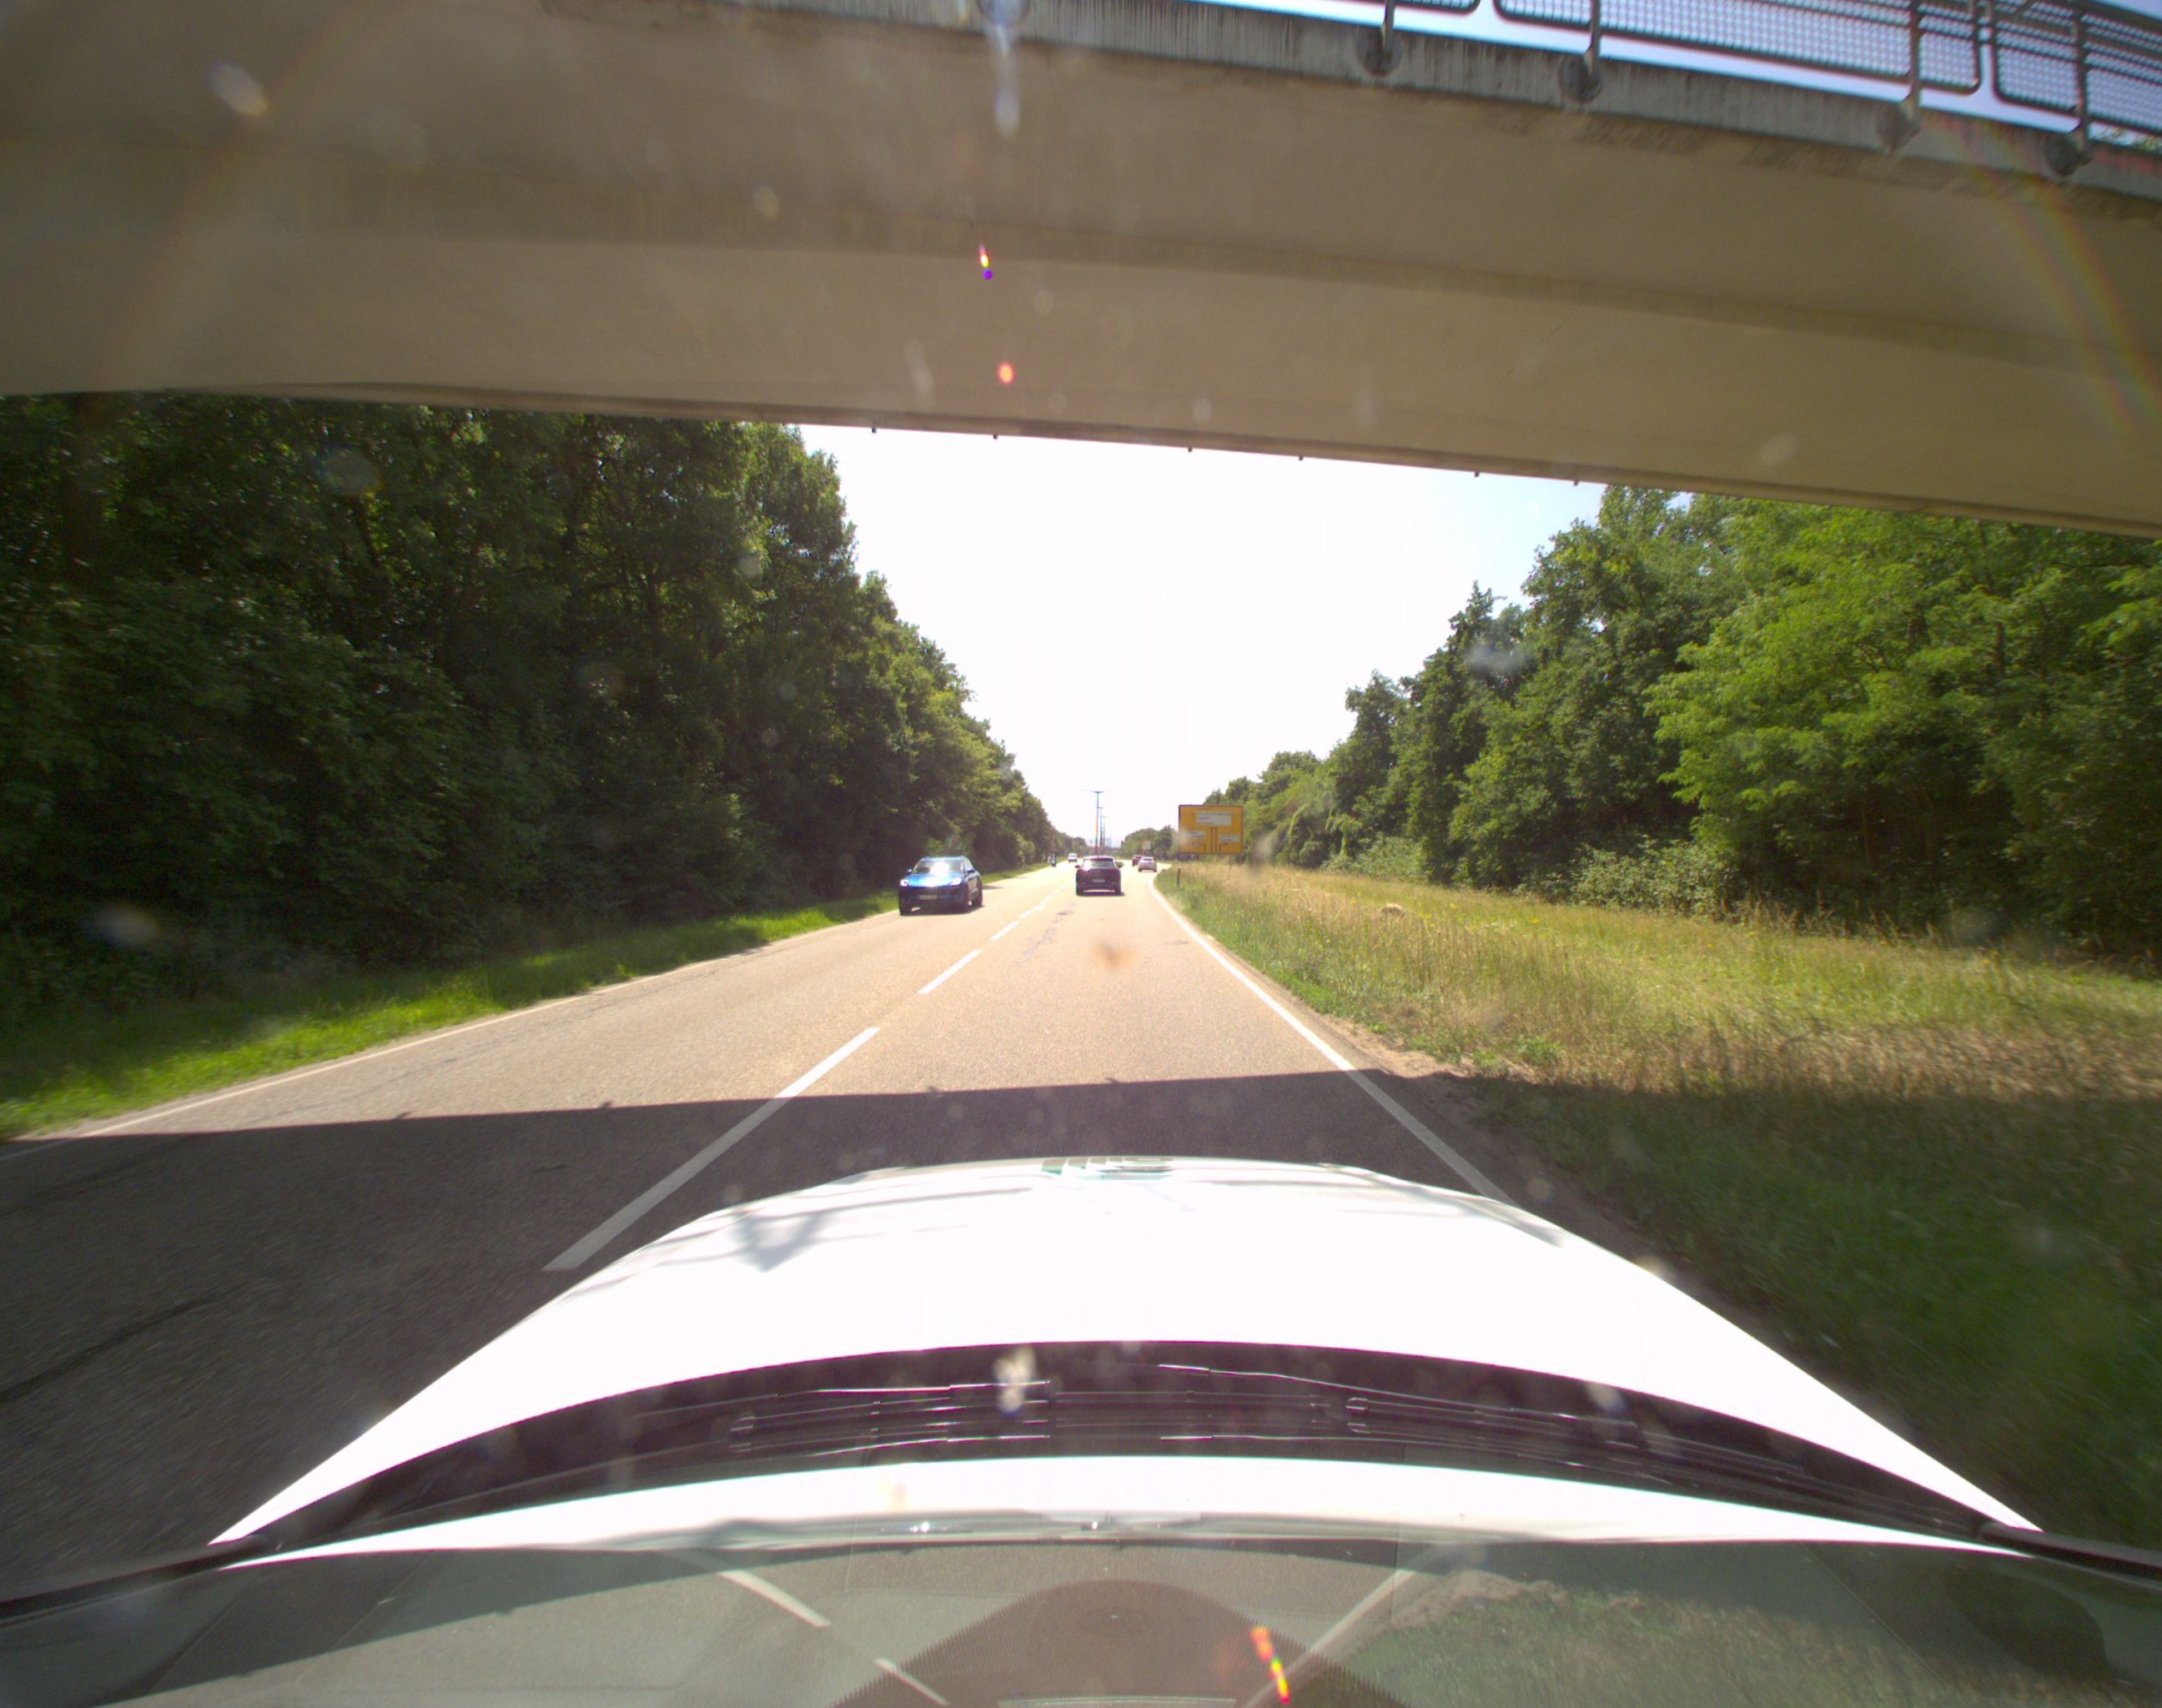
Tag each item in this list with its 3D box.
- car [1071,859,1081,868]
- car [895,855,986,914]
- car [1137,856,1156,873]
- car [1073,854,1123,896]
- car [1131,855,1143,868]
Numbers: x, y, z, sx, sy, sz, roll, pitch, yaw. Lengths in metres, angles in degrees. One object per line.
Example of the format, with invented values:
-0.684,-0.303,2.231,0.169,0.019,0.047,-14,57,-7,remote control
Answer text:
-0.957,1.837,156.513,1.725,1.688,4.096,-1,0,1,car
-4.121,0.840,24.598,1.816,1.590,4.421,-2,0,1,car
6.592,1.044,81.733,1.789,1.583,4.004,-1,0,3,car
0.636,0.816,33.104,1.751,1.556,3.996,1,-1,-3,car
8.606,1.110,125.229,1.749,1.929,4.001,2,0,2,car
